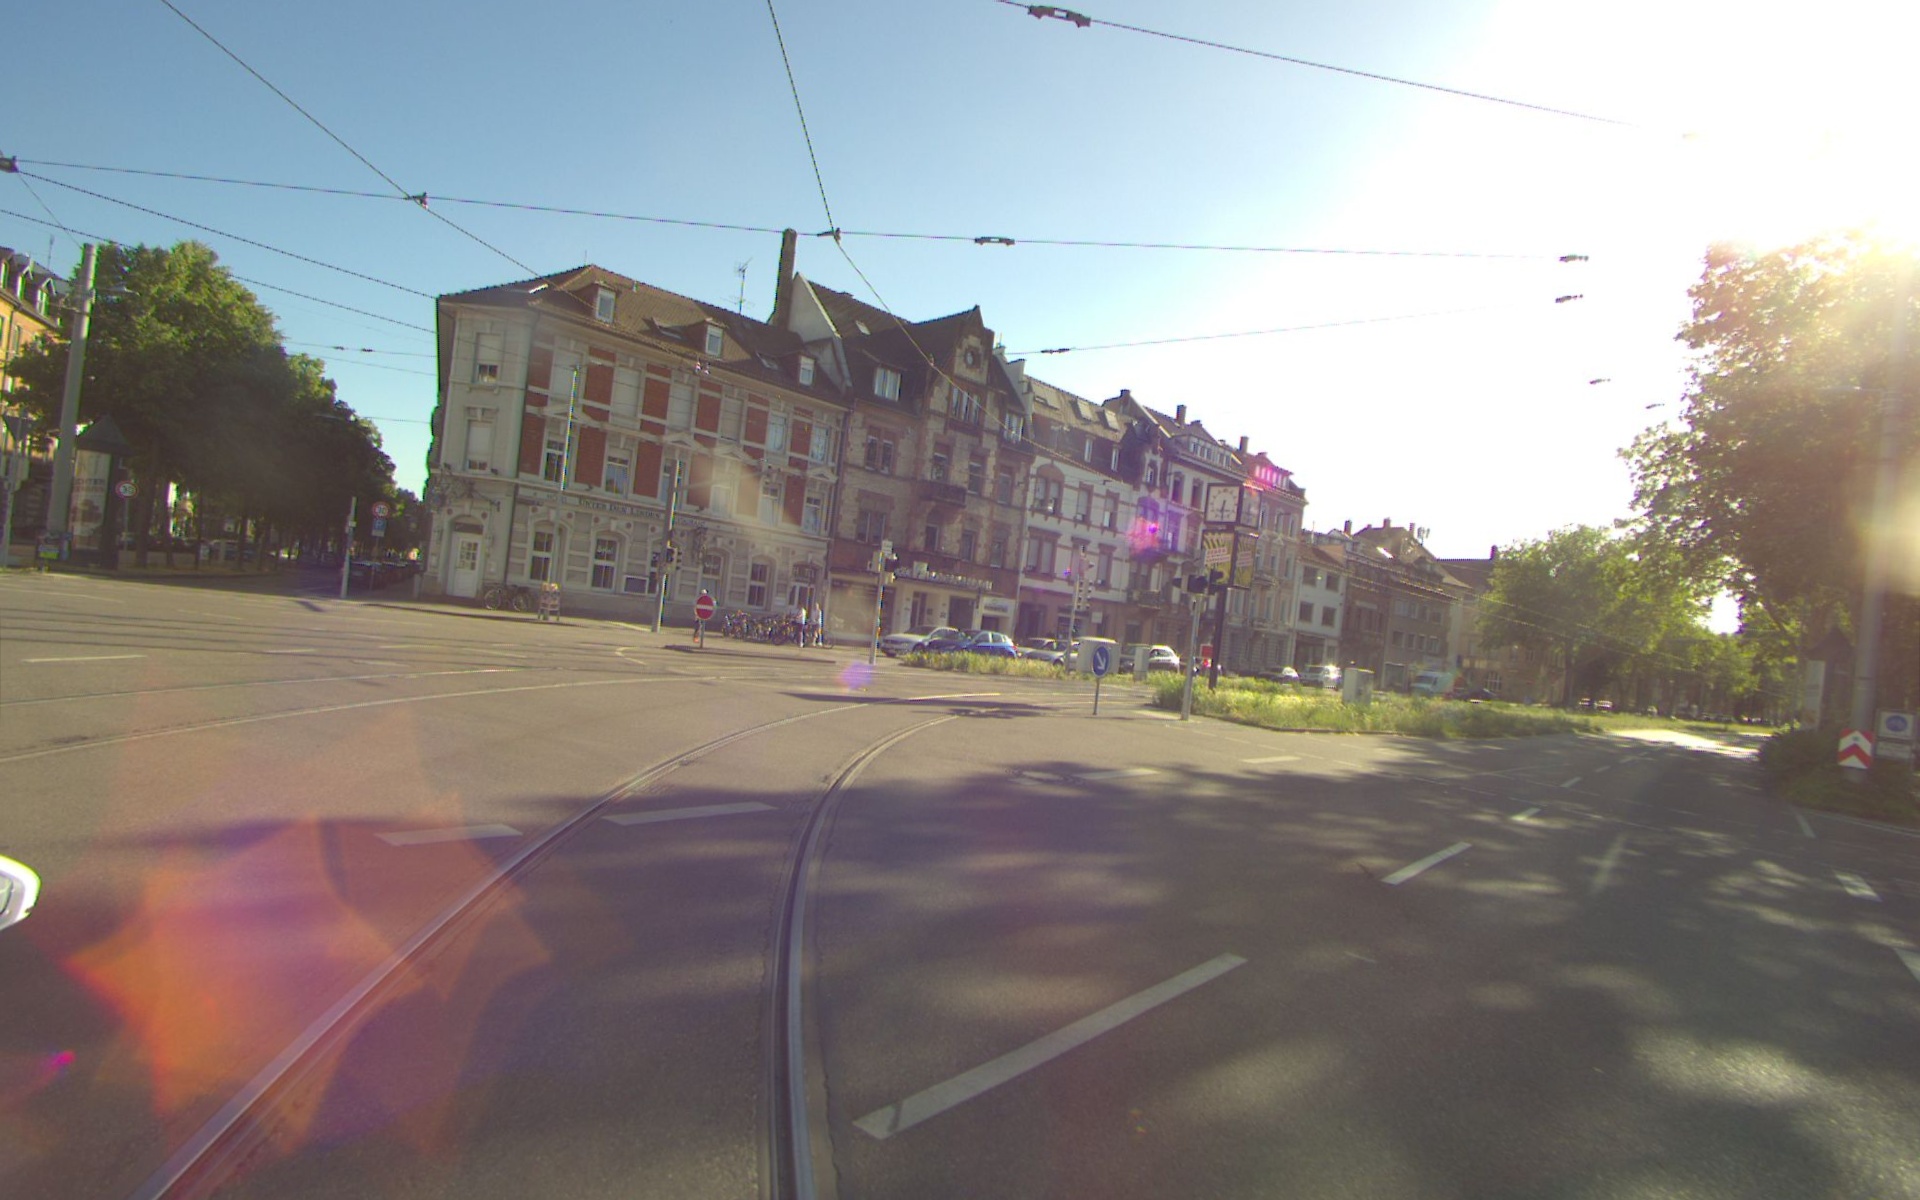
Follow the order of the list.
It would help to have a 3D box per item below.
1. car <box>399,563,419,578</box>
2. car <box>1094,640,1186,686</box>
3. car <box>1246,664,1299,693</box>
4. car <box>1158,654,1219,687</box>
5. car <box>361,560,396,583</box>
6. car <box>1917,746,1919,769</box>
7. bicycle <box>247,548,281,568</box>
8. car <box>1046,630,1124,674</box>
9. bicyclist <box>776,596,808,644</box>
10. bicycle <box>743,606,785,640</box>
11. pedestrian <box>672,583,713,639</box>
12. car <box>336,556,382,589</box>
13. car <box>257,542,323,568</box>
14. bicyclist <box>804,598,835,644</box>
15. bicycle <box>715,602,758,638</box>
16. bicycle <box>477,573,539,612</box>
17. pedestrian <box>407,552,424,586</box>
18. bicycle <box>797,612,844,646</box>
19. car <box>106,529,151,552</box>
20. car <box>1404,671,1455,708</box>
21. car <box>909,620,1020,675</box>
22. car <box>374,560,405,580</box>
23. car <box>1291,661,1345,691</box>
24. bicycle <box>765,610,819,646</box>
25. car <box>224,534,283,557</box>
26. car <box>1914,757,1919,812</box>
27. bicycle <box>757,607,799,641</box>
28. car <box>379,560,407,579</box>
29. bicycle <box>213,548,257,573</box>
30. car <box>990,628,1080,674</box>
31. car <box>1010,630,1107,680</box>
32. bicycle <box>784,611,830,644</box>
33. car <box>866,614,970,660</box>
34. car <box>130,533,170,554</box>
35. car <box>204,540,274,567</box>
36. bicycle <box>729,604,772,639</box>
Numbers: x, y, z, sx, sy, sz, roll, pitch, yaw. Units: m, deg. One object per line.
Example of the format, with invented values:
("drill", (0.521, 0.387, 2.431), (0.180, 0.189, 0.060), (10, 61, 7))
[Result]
("car", (-68.461, -3.665, 125.021), (1.976, 1.515, 4.007), (7, -1, -27))
("car", (8.430, 2.936, 46.883), (1.930, 1.688, 4.462), (6, -1, 45))
("car", (22.652, 5.661, 72.788), (1.930, 1.688, 3.977), (6, -1, 45))
("car", (14.786, 4.570, 64.970), (1.930, 1.688, 3.977), (6, -1, 45))
("car", (-45.699, -2.271, 79.101), (1.976, 1.515, 4.007), (7, -1, -27))
("car", (44.831, 7.093, 45.535), (1.893, 1.471, 4.481), (6, -1, 42))
("bicycle", (-46.335, -2.783, 66.967), (1.912, 1.080, 0.584), (7, 0, 9))
("car", (7.070, 2.945, 56.580), (1.930, 1.988, 4.393), (6, -1, 45))
("bicyclist", (-6.564, 0.787, 39.388), (0.869, 1.785, 0.594), (6, 0, -42))
("bicycle", (-8.015, 0.931, 41.107), (0.675, 1.205, 1.943), (7, 0, -43))
("pedestrian", (-8.638, 0.361, 32.527), (0.926, 1.690, 0.714), (7, 0, 40))
("car", (-33.581, -1.560, 56.263), (1.978, 1.515, 4.003), (7, -1, -30))
("car", (-54.884, -3.657, 82.496), (3.937, 1.564, 1.995), (7, -1, -14))
("bicyclist", (-5.776, 0.889, 41.432), (0.593, 1.785, 0.902), (7, 0, 38))
("bicycle", (-8.945, 0.787, 40.135), (0.675, 1.205, 1.943), (7, 0, -43))
("bicycle", (-16.927, -0.271, 37.722), (1.952, 1.205, 0.540), (7, 0, -40))
("pedestrian", (-27.923, -1.582, 51.561), (0.585, 1.657, 0.576), (6, -7, -25))
("bicycle", (-5.748, 1.216, 41.521), (0.593, 1.205, 1.960), (7, -1, 38))
("car", (-65.975, -4.698, 79.858), (1.978, 1.515, 4.003), (7, -1, -30))
("car", (43.861, 8.406, 93.925), (2.174, 2.944, 5.925), (6, -1, 45))
("car", (0.219, 1.873, 38.932), (1.930, 1.688, 3.977), (6, -1, 45))
("car", (-49.522, -2.628, 87.378), (1.976, 1.515, 4.007), (7, -1, -27))
("car", (27.669, 5.877, 77.607), (1.930, 1.884, 4.776), (6, -1, 45))
("bicycle", (-6.562, 1.096, 39.418), (1.954, 1.205, 0.594), (7, -1, -42))
("car", (-66.899, -5.150, 95.318), (3.939, 1.564, 1.993), (7, -1, -17))
("car", (24.010, 4.420, 23.743), (1.893, 1.471, 4.481), (6, -1, 42))
("bicycle", (-7.535, 0.990, 41.577), (0.675, 1.205, 1.943), (7, 0, -43))
("car", (-52.952, -2.830, 93.980), (1.976, 1.515, 4.007), (7, -1, -27))
("bicycle", (-37.832, -2.062, 52.485), (1.912, 1.080, 0.584), (7, 0, 9))
("car", (3.484, 2.380, 46.292), (1.930, 1.688, 3.977), (6, -1, 45))
("car", (4.222, 2.358, 42.830), (1.930, 1.688, 3.977), (6, -1, 45))
("bicycle", (-6.394, 1.151, 42.168), (0.668, 1.205, 1.962), (7, -1, 34))
("car", (-1.671, 1.519, 41.090), (1.822, 1.429, 3.977), (6, -1, 45))
("car", (-70.602, -4.892, 87.687), (1.978, 1.515, 4.003), (7, -1, -30))
("car", (-56.826, -3.635, 79.365), (3.939, 1.564, 1.993), (7, -1, -17))
("bicycle", (-8.471, 0.861, 40.648), (0.675, 1.205, 1.943), (7, 0, -43))
